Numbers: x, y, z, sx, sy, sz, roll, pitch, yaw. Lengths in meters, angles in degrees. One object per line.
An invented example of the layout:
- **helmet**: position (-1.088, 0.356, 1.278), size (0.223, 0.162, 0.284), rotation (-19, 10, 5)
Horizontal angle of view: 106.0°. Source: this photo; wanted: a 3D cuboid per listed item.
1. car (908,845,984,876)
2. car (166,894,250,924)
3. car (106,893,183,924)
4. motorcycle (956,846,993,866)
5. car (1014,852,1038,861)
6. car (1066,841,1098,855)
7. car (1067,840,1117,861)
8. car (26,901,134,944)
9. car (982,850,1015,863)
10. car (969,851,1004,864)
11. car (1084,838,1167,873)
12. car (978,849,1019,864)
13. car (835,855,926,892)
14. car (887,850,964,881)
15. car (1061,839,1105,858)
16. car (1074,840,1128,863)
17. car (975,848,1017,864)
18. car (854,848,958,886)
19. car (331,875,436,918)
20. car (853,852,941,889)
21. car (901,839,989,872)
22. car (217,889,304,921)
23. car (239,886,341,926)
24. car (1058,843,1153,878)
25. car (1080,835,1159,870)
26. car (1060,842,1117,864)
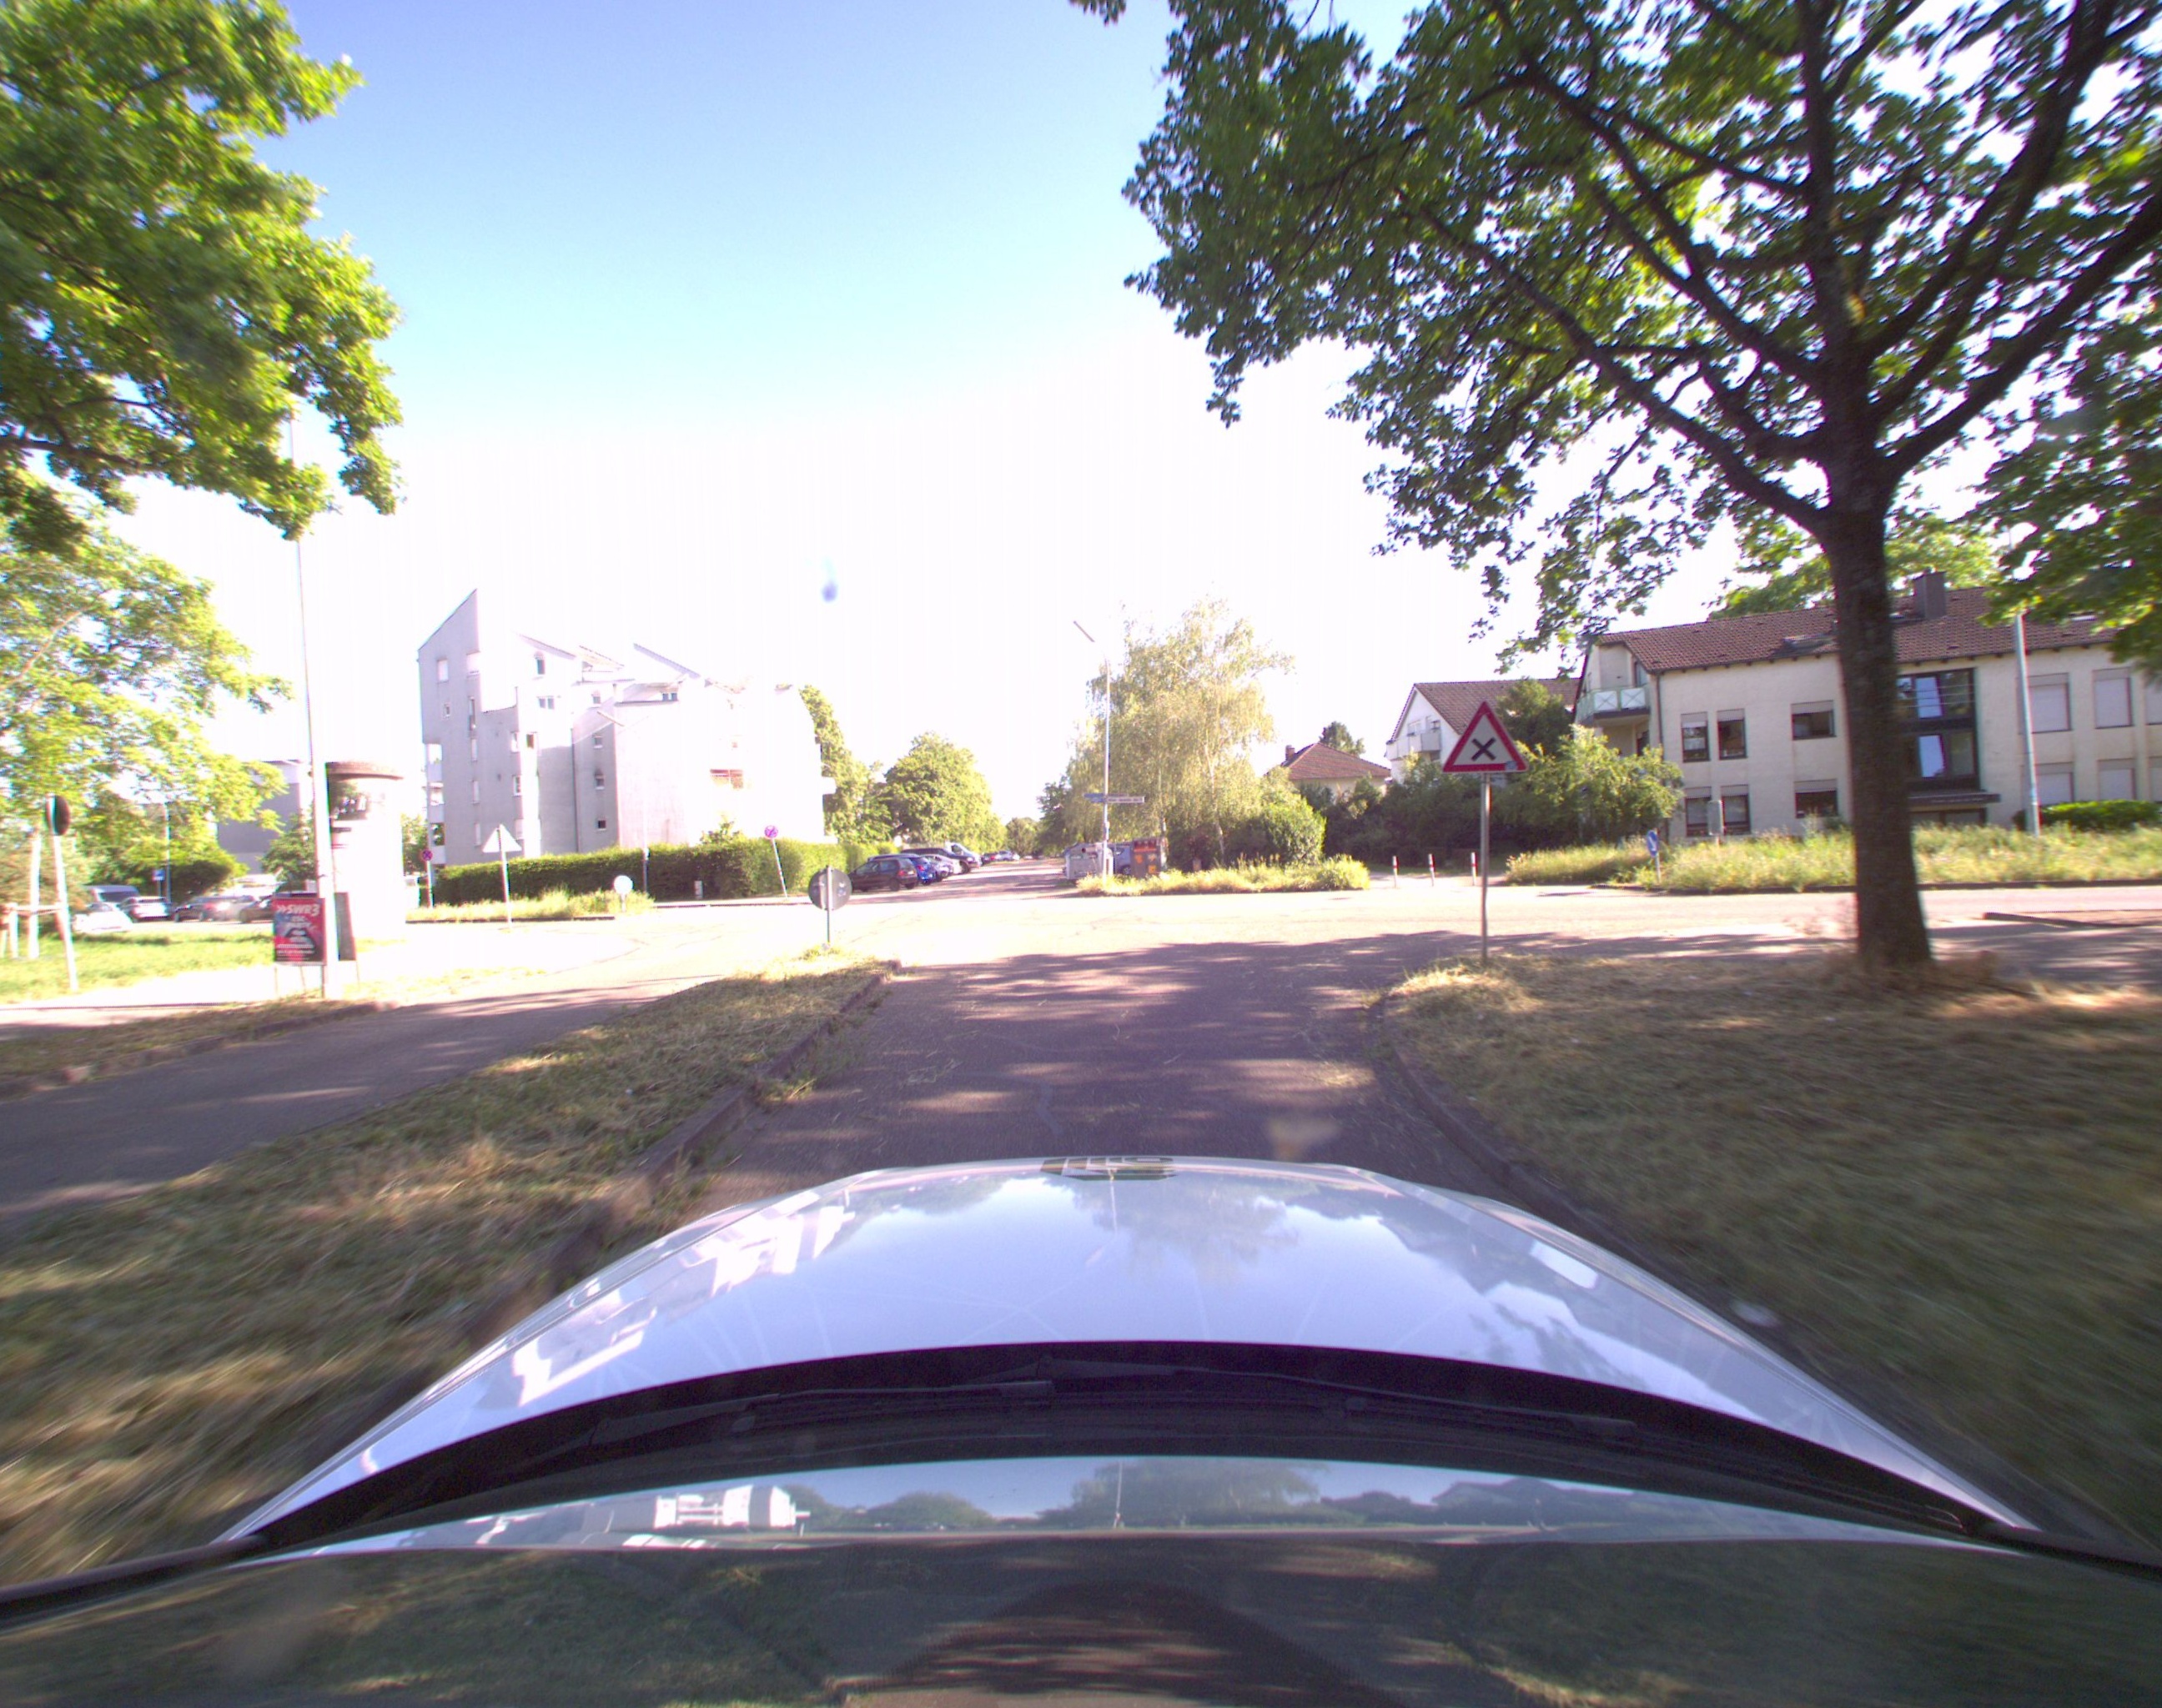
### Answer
- **car**: position (-8.828, 0.390, 53.312), size (4.502, 1.771, 1.849), rotation (-3, 0, 3)
- **car**: position (-50.639, 3.177, 47.233), size (4.321, 1.488, 1.927), rotation (-3, 0, 24)
- **car**: position (-58.827, 3.423, 51.156), size (4.321, 1.666, 1.927), rotation (-3, 0, 24)
- **motorcycle**: position (-9.709, 0.180, 74.557), size (3.180, 1.596, 0.923), rotation (-3, 0, 0)
- **car**: position (-8.786, 0.329, 130.095), size (3.635, 1.212, 1.846), rotation (-3, 1, -2)
- **car**: position (0.118, -0.784, 104.271), size (3.972, 1.708, 1.798), rotation (-2, 0, 2)
- **car**: position (0.926, -0.271, 67.197), size (3.972, 1.585, 1.798), rotation (-2, 0, 2)
- **car**: position (-41.274, 2.818, 33.599), size (3.381, 1.527, 1.639), rotation (-3, 0, 17)
- **car**: position (-10.236, 0.323, 100.994), size (3.929, 1.334, 1.846), rotation (-3, 1, -2)
- **car**: position (-11.282, 0.407, 97.633), size (3.929, 1.334, 1.846), rotation (-3, 1, -2)
- **car**: position (2.287, 0.066, 42.473), size (4.048, 1.603, 1.787), rotation (-2, 2, -7)
- **car**: position (-8.410, 0.205, 83.391), size (3.929, 1.334, 1.846), rotation (-3, 1, -2)
- **car**: position (-9.038, 0.881, 36.739), size (3.495, 1.466, 1.711), rotation (-2, 1, 15)
- **car**: position (-8.956, 0.643, 47.195), size (4.135, 1.454, 1.617), rotation (-4, 0, -4)
- **car**: position (0.191, -0.494, 75.717), size (3.972, 1.585, 1.798), rotation (-2, 0, 2)
- **car**: position (1.541, -0.183, 61.666), size (3.972, 1.585, 1.798), rotation (-2, 0, 2)
- **car**: position (-8.328, 0.216, 80.081), size (3.929, 1.334, 1.846), rotation (-3, 1, -2)
- **car**: position (-9.208, 0.672, 43.129), size (4.969, 1.654, 1.787), rotation (-4, 1, 4)
- **car**: position (-35.842, 2.202, 41.851), size (4.894, 1.912, 2.011), rotation (-3, 0, 22)
- **car**: position (-8.851, 0.796, 39.254), size (3.655, 1.496, 1.657), rotation (-4, 1, 11)
- **car**: position (-10.285, 0.118, 62.021), size (6.243, 2.147, 2.408), rotation (-3, 0, -4)
- **car**: position (-45.457, 2.815, 45.110), size (4.321, 1.488, 1.927), rotation (-3, 0, 24)
- **car**: position (-37.804, 2.461, 38.915), size (4.028, 1.643, 1.893), rotation (-3, 0, 21)
- **car**: position (1.144, 0.299, 36.961), size (4.026, 1.438, 1.640), rotation (-2, 0, 11)
- **car**: position (2.124, -0.109, 45.354), size (4.101, 1.706, 1.786), rotation (-2, 2, -8)
- **car**: position (0.562, -0.079, 58.430), size (3.972, 1.401, 1.798), rotation (-2, 0, 2)
